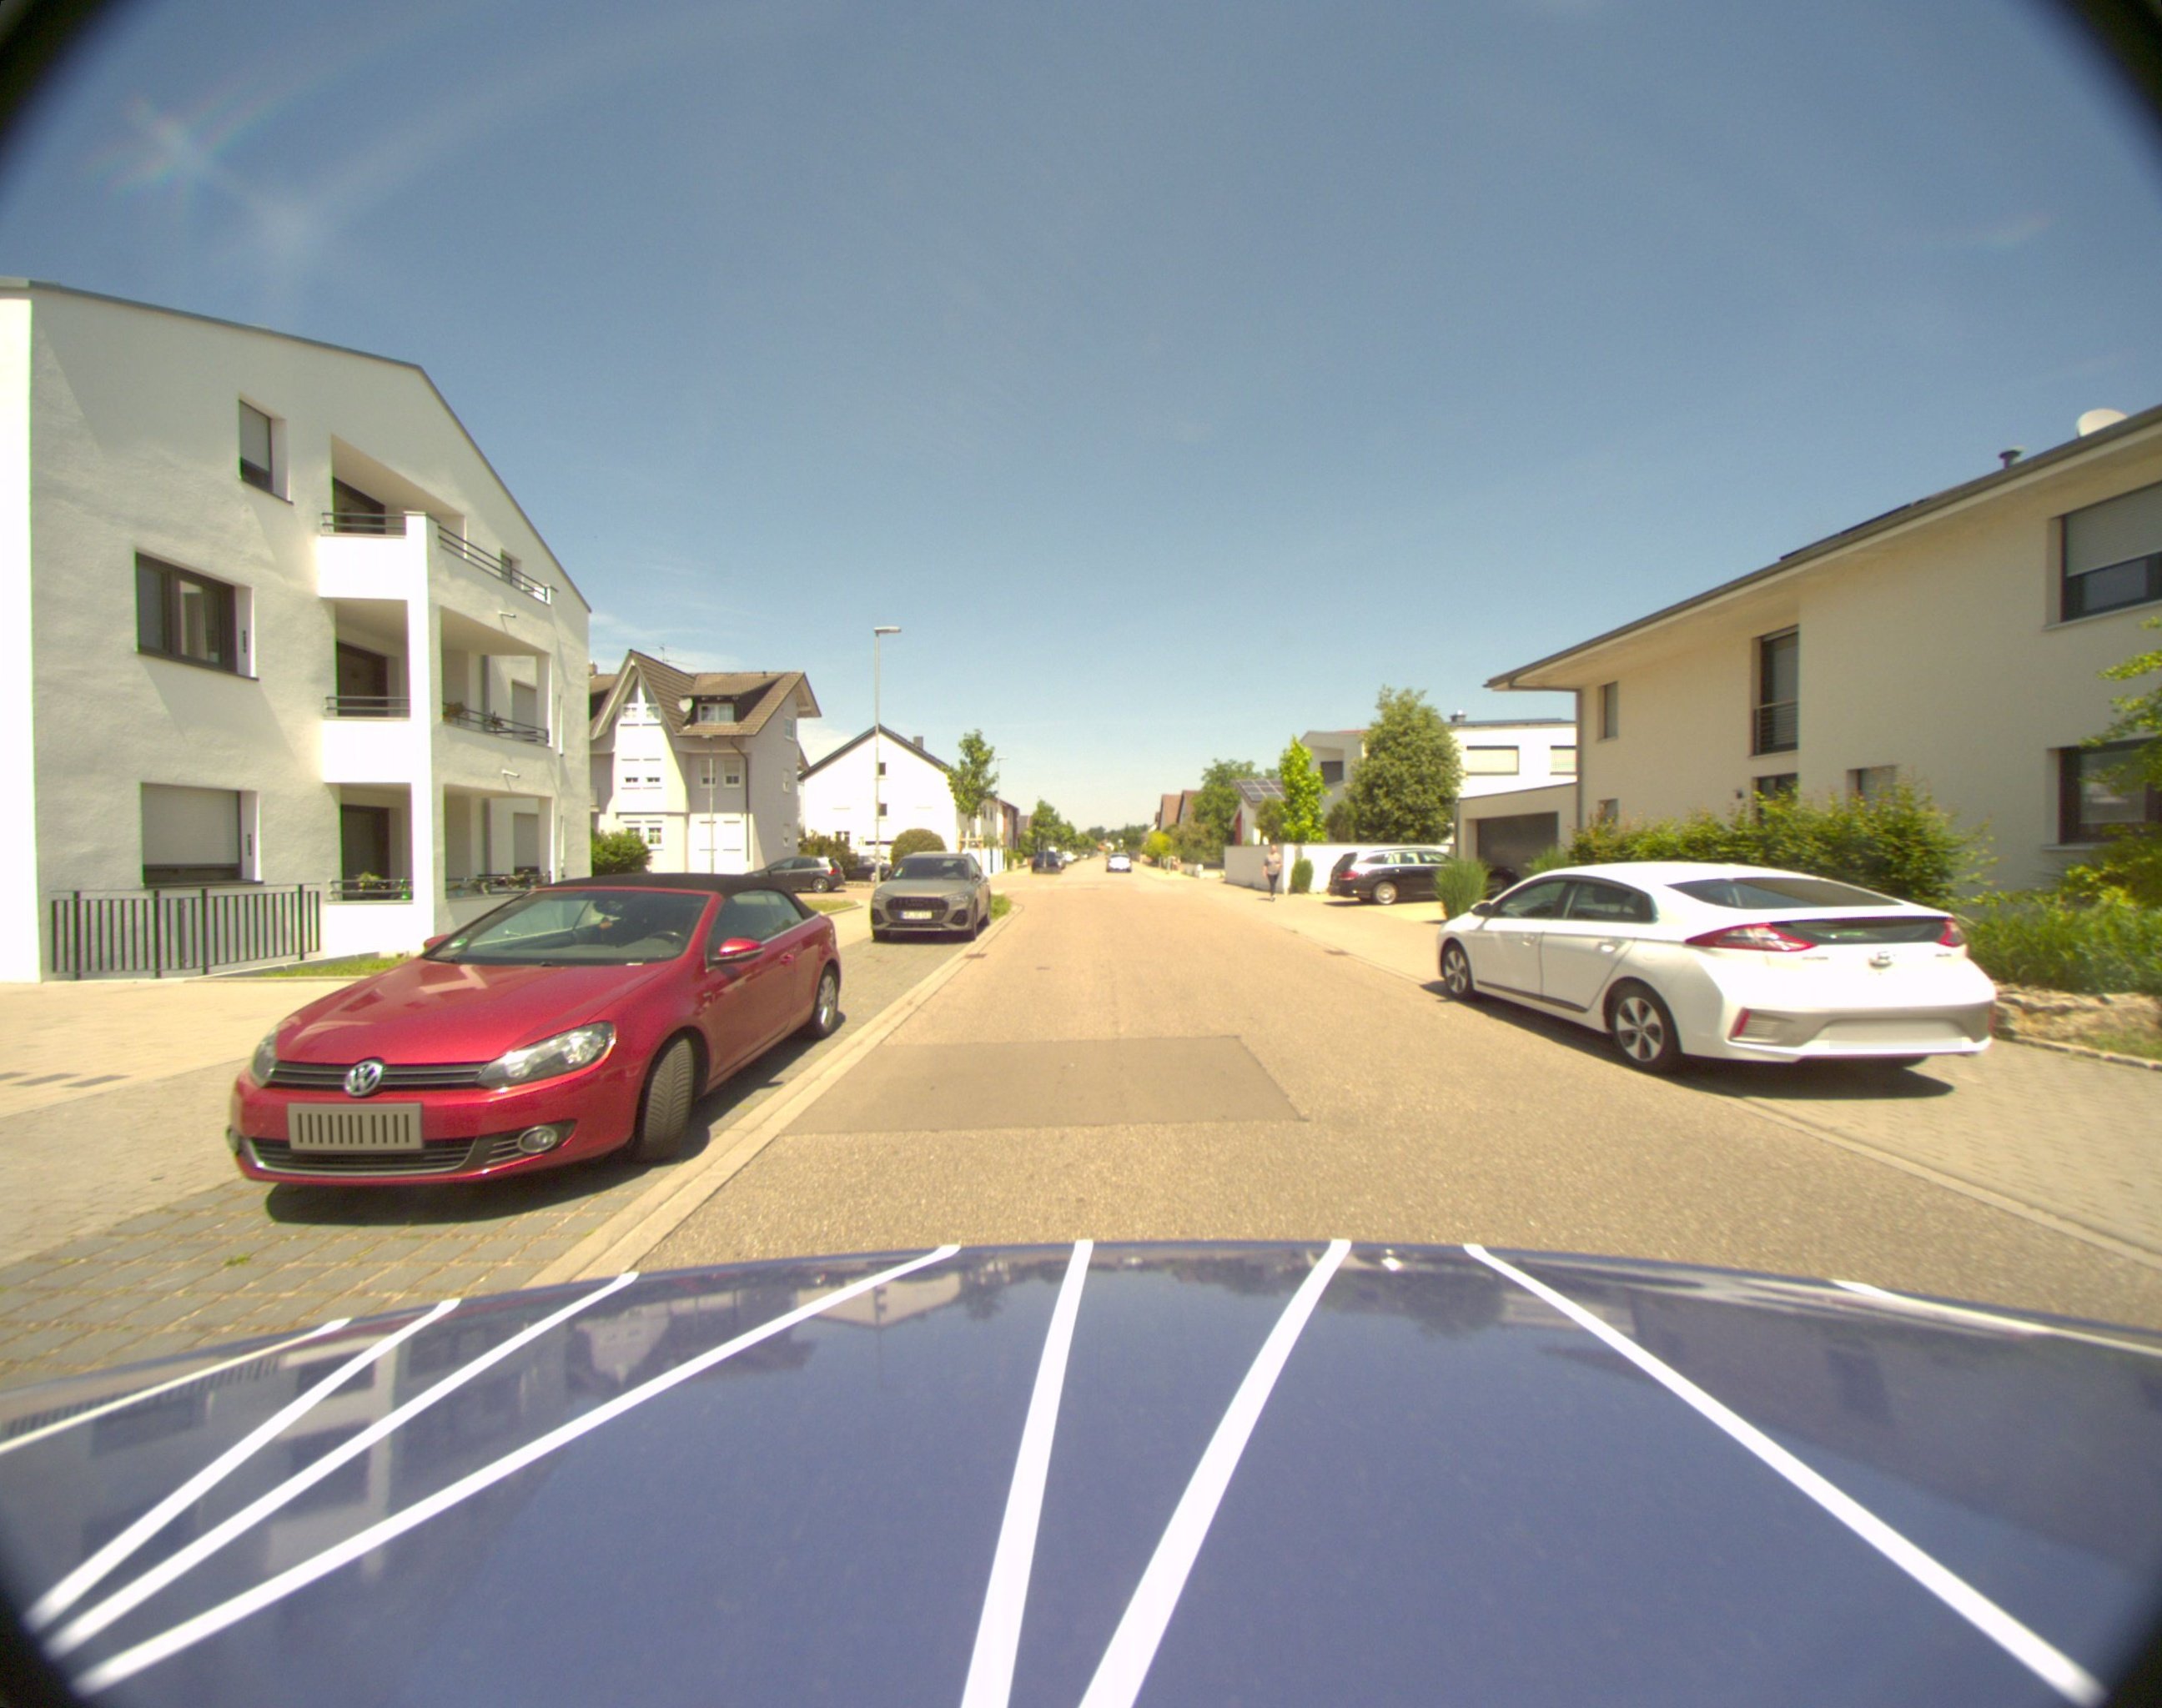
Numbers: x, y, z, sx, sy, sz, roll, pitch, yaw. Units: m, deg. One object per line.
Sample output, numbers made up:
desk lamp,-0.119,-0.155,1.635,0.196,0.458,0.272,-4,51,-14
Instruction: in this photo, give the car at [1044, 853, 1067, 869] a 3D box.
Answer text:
car,-2.260,0.632,68.142,1.819,1.412,4.093,0,0,1

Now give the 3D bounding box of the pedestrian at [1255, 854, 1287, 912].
pedestrian,5.852,0.881,23.409,0.716,1.737,0.961,-1,1,1

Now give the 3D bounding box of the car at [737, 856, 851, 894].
car,-11.472,0.816,30.583,4.004,1.459,1.755,0,0,-7

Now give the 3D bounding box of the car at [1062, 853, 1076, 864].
car,-1.587,0.533,100.358,1.819,1.412,3.868,0,0,0

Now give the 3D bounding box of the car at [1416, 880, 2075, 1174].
car,4.745,1.062,6.515,1.856,1.479,4.385,-1,0,1

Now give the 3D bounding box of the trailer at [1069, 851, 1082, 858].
trailer,-0.851,0.114,115.775,1.792,1.052,2.899,0,0,2

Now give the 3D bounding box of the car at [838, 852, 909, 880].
car,-11.321,0.650,41.669,3.454,1.486,1.664,0,0,-3

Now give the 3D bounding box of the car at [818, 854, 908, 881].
car,-11.205,0.668,39.265,4.213,1.366,1.664,0,0,-3

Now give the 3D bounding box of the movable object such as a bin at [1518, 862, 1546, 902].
movable object such as a bin,12.359,0.769,20.811,0.385,1.067,0.589,0,0,-6

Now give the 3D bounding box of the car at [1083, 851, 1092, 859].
car,1.434,0.236,169.851,1.597,1.630,3.804,1,0,5

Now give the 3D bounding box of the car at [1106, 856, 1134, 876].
car,2.995,0.900,59.239,1.858,1.470,4.699,-1,0,-1

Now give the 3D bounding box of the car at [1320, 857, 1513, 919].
car,9.032,0.900,20.753,4.438,1.465,1.851,-2,0,4

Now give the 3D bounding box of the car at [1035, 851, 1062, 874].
car,-2.472,0.640,58.552,1.819,1.646,4.565,0,0,1

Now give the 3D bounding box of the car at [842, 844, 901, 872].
car,-13.815,0.283,50.280,3.395,1.802,1.771,0,0,0

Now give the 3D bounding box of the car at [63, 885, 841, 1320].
car,-2.953,1.000,4.836,1.684,1.433,4.026,0,0,-2

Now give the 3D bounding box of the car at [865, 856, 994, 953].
car,-2.801,0.855,14.942,1.778,1.586,4.278,1,0,-2
